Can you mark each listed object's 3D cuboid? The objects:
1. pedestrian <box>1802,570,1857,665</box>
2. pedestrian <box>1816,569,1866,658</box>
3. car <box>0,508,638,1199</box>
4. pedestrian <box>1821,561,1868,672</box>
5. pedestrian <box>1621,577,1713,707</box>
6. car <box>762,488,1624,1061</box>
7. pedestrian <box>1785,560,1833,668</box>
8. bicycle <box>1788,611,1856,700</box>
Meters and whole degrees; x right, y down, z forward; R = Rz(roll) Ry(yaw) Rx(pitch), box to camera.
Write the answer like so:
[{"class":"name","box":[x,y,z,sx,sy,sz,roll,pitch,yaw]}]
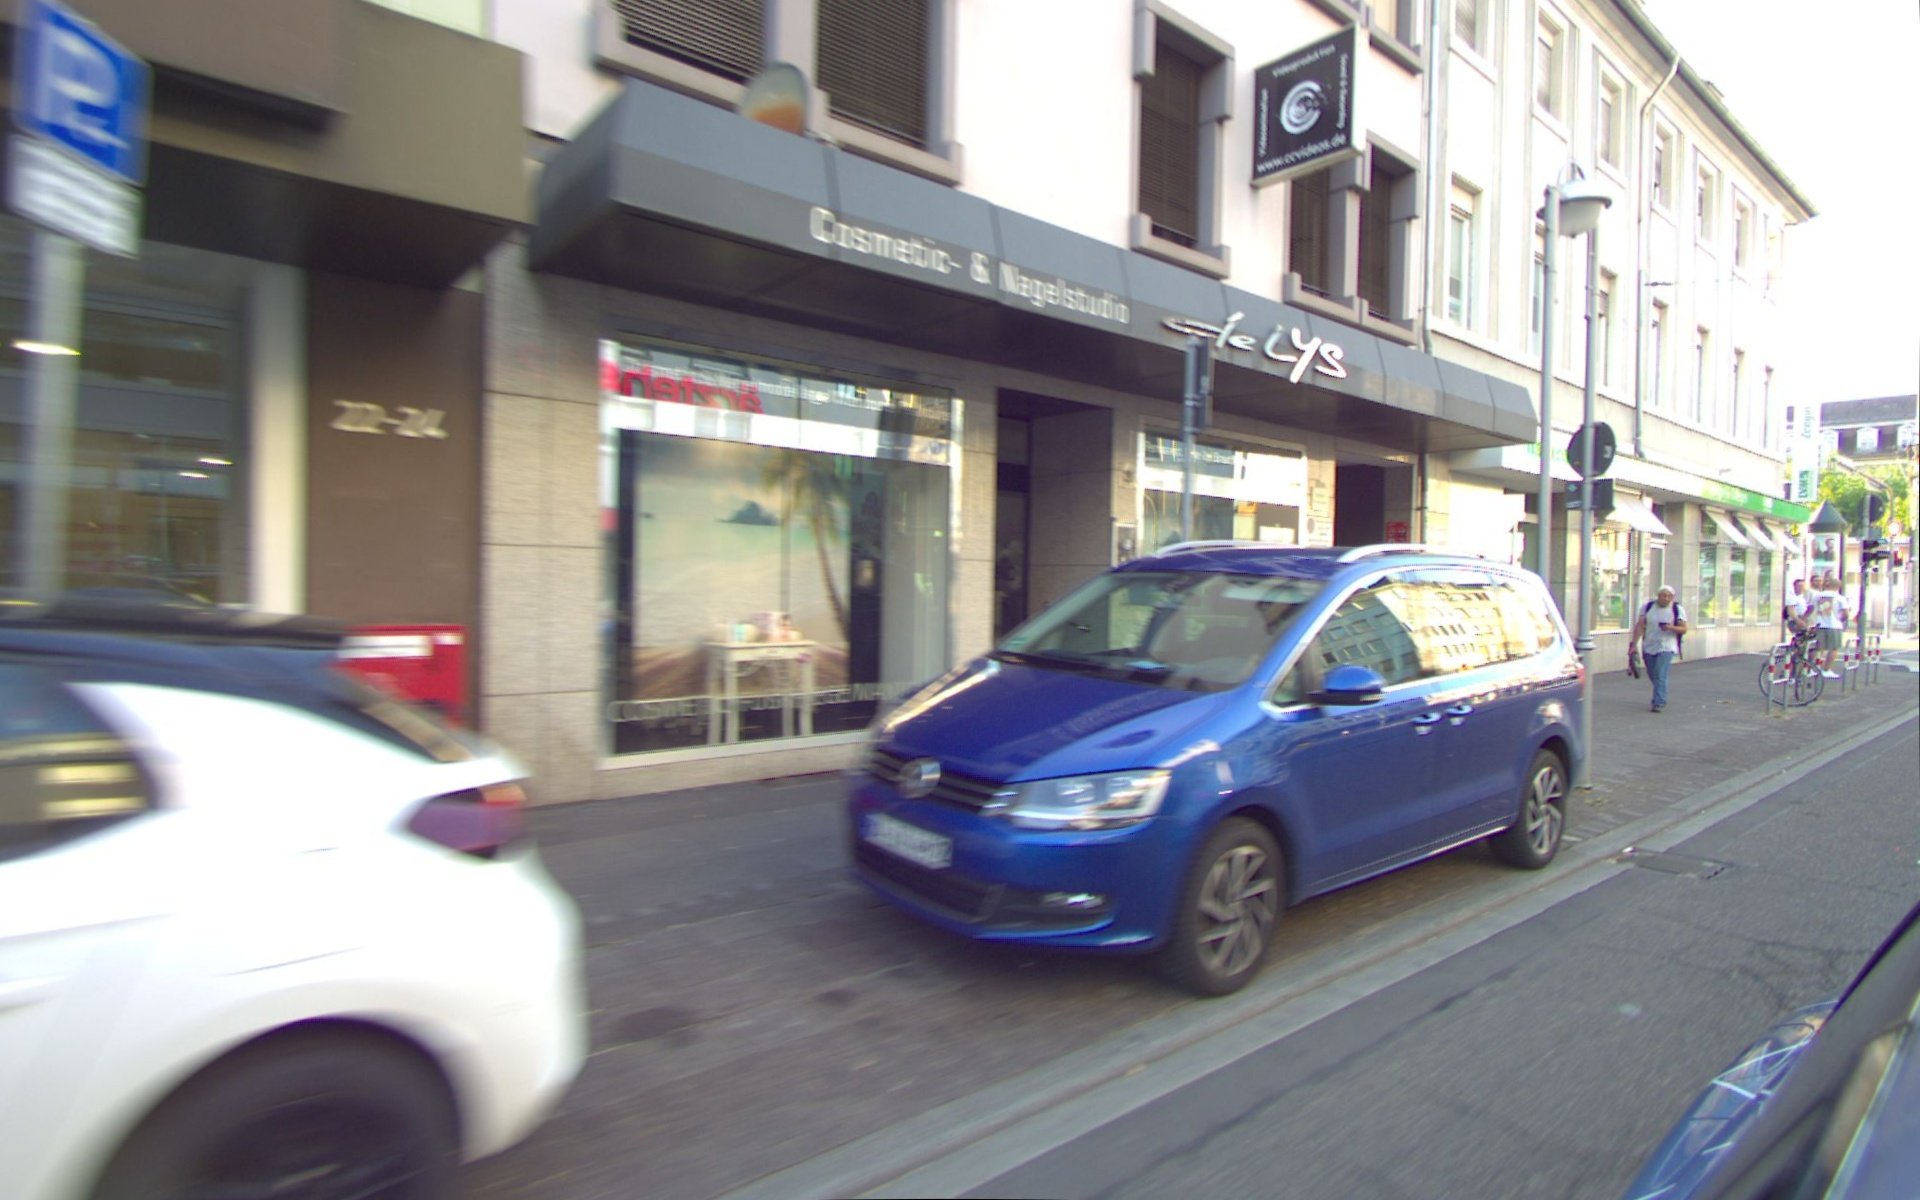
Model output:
[{"class":"pedestrian","box":[16.639,0.318,19.361,0.686,1.767,0.640,0,1,-37]},{"class":"pedestrian","box":[18.366,0.268,21.102,0.636,1.800,0.671,0,1,-40]},{"class":"car","box":[-2.718,0.560,1.617,3.803,1.503,1.770,0,4,-40]},{"class":"pedestrian","box":[15.775,0.281,18.065,0.573,1.952,0.489,2,1,40]},{"class":"pedestrian","box":[8.955,0.504,12.815,0.854,1.567,0.699,0,1,-37]},{"class":"car","box":[1.467,0.466,5.212,4.481,1.737,1.920,0,4,-39]},{"class":"pedestrian","box":[15.744,0.247,18.784,0.637,1.952,0.522,2,1,39]},{"class":"bicycle","box":[11.869,0.728,13.916,1.620,1.103,0.478,-1,3,-43]}]
